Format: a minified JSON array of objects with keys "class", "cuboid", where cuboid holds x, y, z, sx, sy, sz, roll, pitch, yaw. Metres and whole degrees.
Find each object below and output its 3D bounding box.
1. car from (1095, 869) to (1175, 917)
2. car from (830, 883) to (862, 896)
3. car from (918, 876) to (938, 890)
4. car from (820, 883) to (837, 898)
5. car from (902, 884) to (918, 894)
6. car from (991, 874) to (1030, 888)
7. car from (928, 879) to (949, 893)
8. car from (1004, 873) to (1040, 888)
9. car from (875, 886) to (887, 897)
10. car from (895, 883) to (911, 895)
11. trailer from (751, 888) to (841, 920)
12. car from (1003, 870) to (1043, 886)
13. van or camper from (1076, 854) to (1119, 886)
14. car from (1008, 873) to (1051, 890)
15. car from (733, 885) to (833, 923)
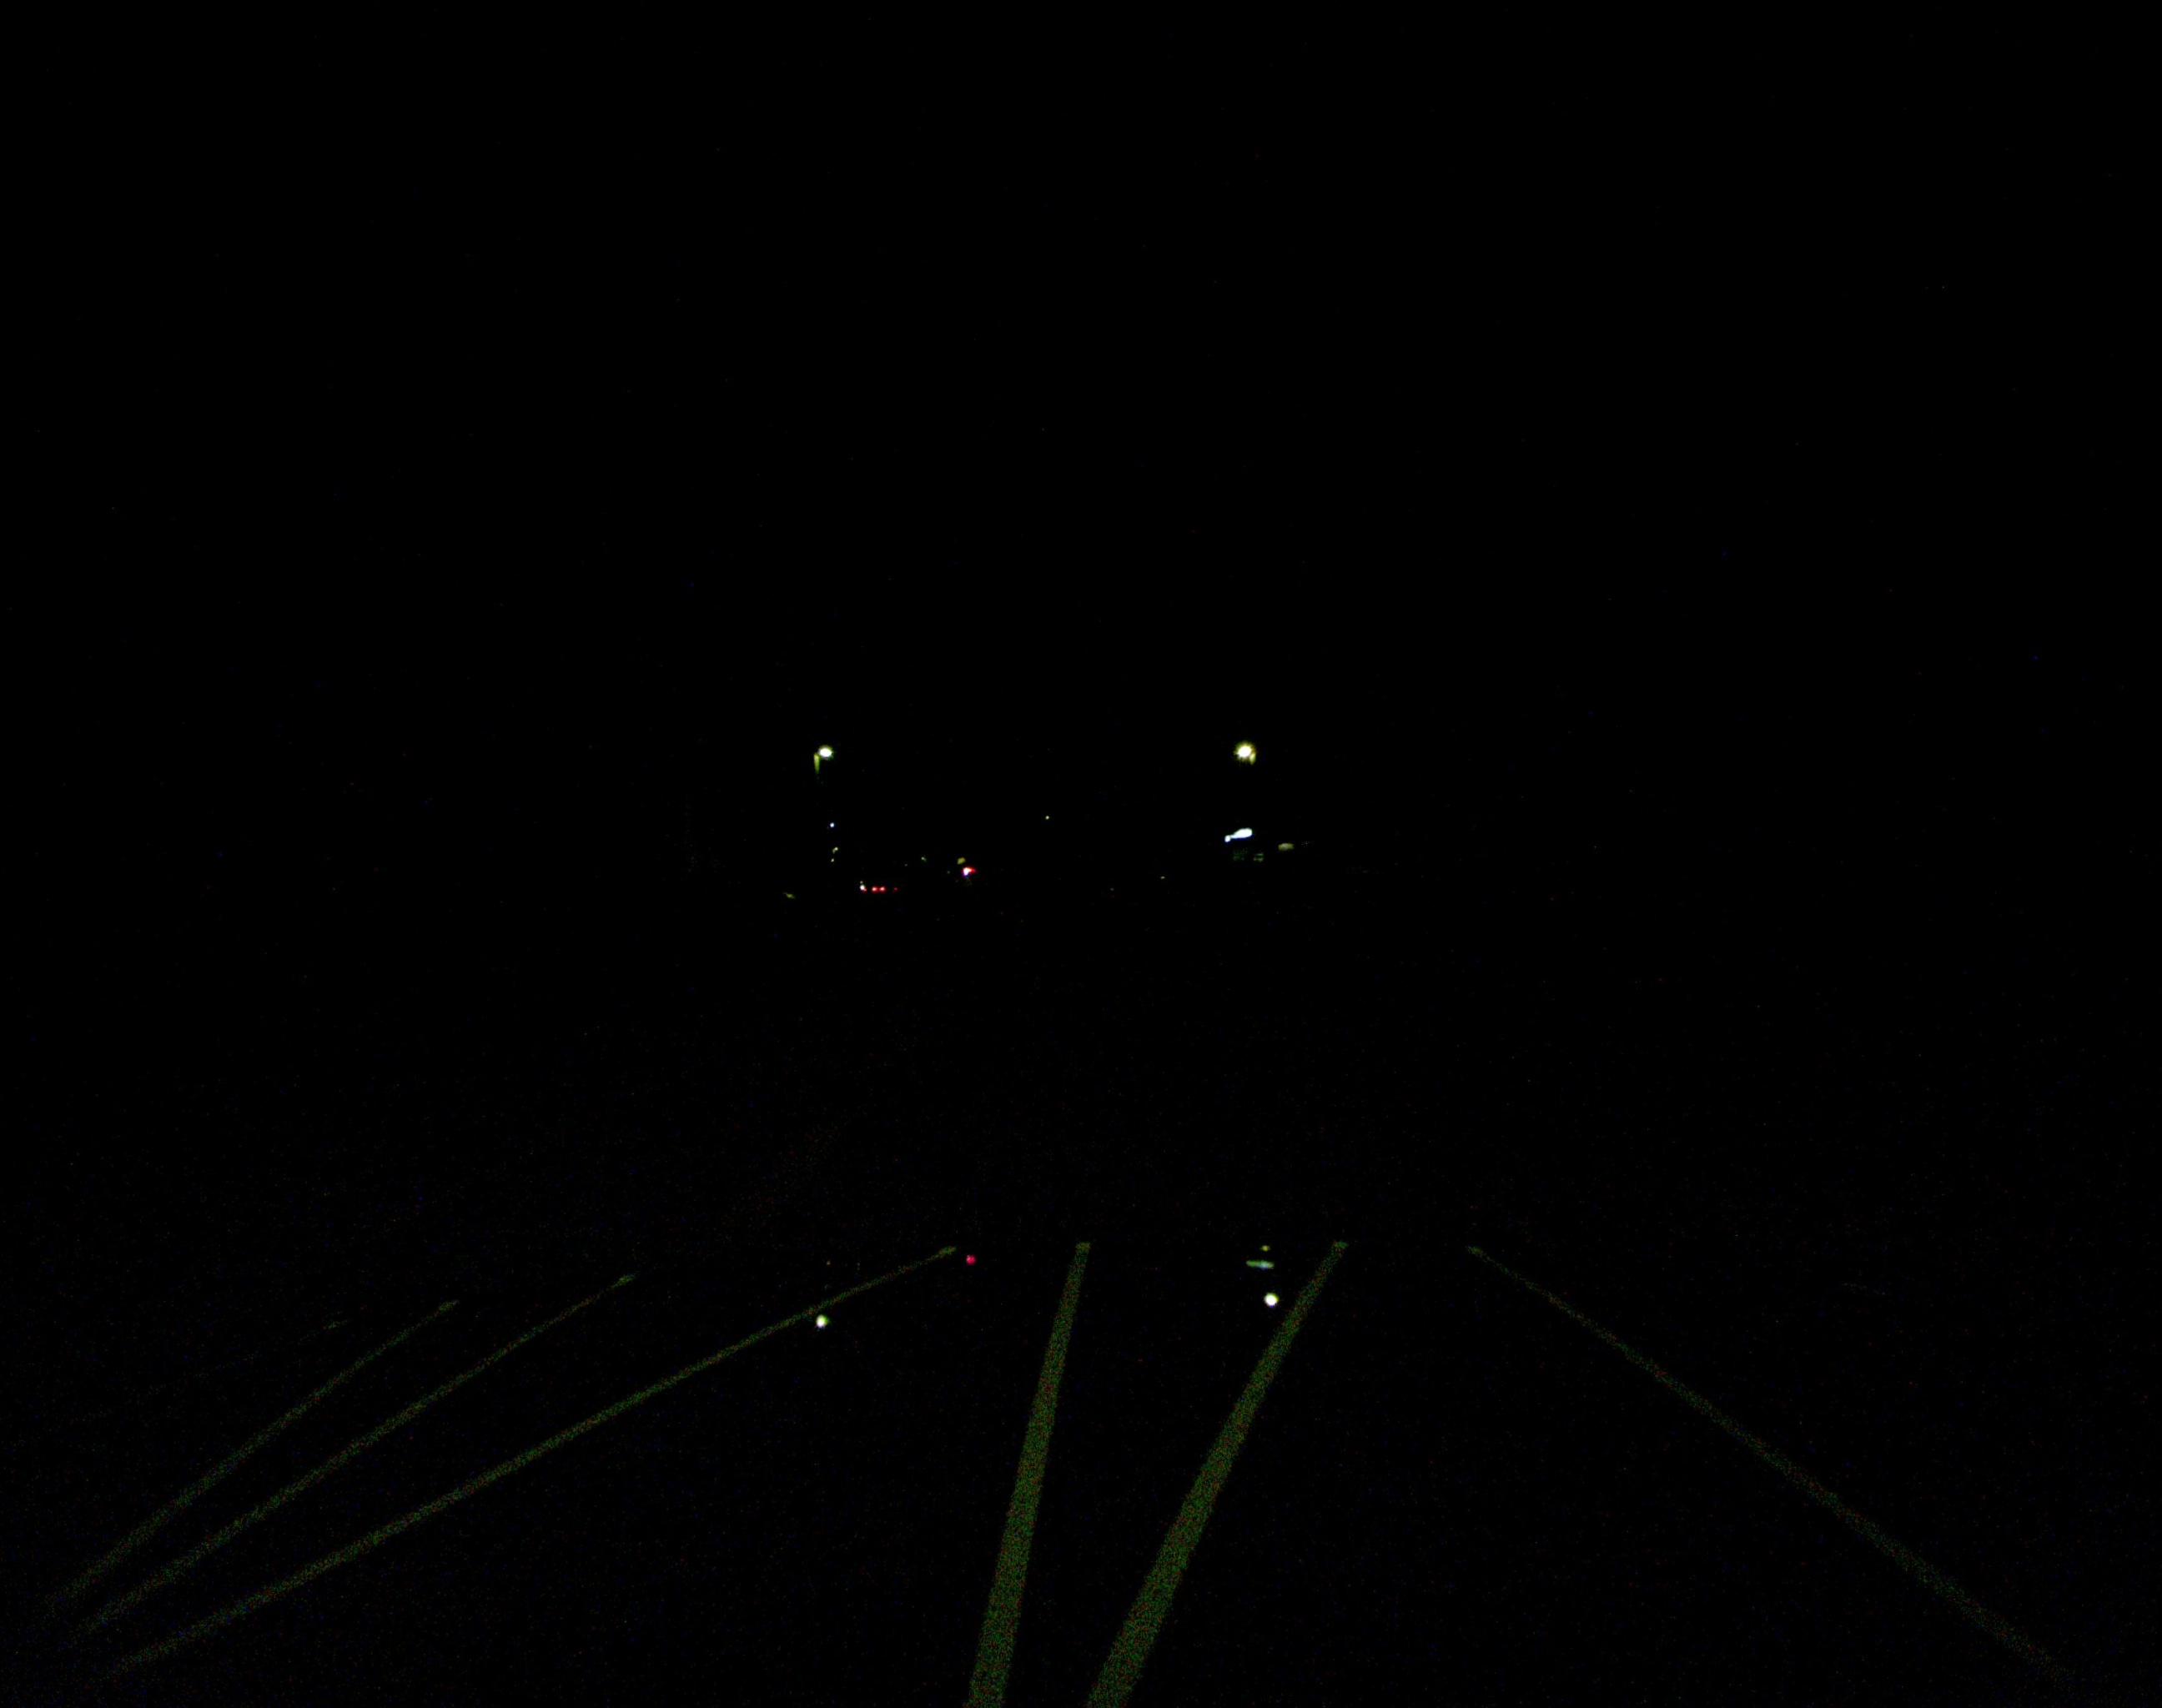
[{"class":"car","cuboid":[1.967,1.443,28.831,1.679,1.581,3.982,-3,-1,-16]},{"class":"car","cuboid":[-35.932,5.403,116.280,4.370,1.805,2.030,-1,-2,-12]},{"class":"car","cuboid":[-20.406,3.862,101.153,1.936,1.626,4.465,-3,-2,-18]},{"class":"car","cuboid":[-27.154,3.901,81.764,1.646,1.550,3.674,-1,-2,-18]},{"class":"car","cuboid":[-28.371,5.823,126.001,2.124,1.660,4.164,-2,-2,-19]},{"class":"car","cuboid":[-8.620,3.342,92.787,4.331,1.552,2.026,-1,-2,-24]},{"class":"car","cuboid":[-16.111,3.618,85.793,1.756,1.459,4.004,-2,-2,-18]},{"class":"car","cuboid":[-6.970,3.157,89.592,4.002,1.608,1.998,-2,-2,-14]},{"class":"car","cuboid":[-37.385,7.023,141.936,2.011,1.736,4.555,-2,-4,-16]},{"class":"car","cuboid":[-30.970,6.054,132.277,2.124,1.934,4.882,-4,-1,-19]},{"class":"trailer","cuboid":[-12.218,2.132,32.802,3.445,0.996,1.952,-5,-1,-18]},{"class":"car","cuboid":[-6.436,2.664,84.356,4.132,1.651,1.998,0,-2,-16]},{"class":"van or camper","cuboid":[1.456,1.529,70.852,2.083,2.730,5.922,-2,-2,-18]},{"class":"car","cuboid":[-5.265,2.798,77.829,4.005,1.692,1.945,1,-3,-24]},{"class":"car","cuboid":[-11.203,1.856,28.757,3.405,1.224,1.722,-1,-2,-19]}]
